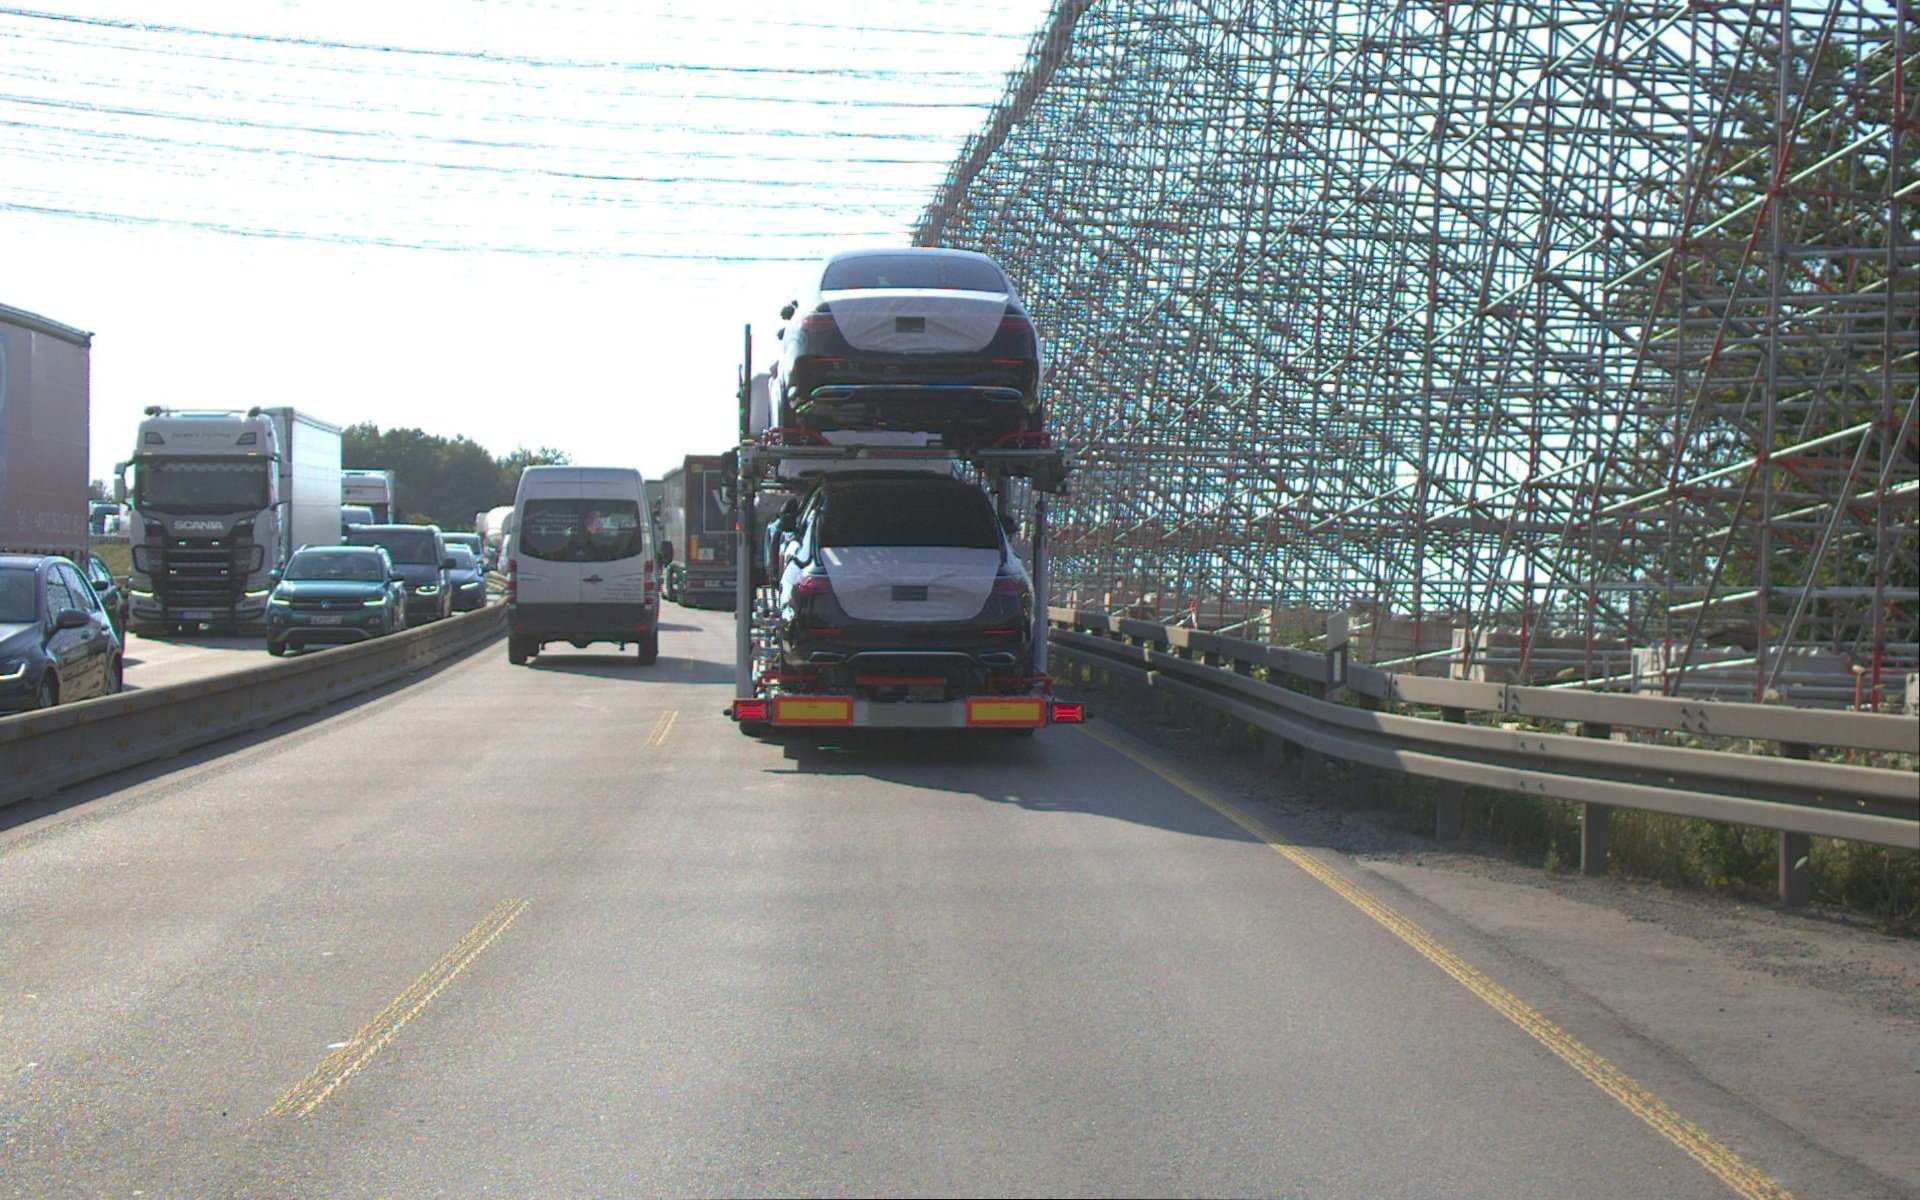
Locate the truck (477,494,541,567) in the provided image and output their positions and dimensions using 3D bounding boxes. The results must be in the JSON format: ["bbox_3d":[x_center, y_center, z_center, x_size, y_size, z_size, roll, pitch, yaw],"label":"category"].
[{"bbox_3d":[-24.031,-3.719,182.984,2.615,3.711,9.662,2,1,-11],"label":"truck"}]

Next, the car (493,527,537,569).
[{"bbox_3d":[-17.668,-2.053,136.422,1.710,1.612,3.504,0,0,-8],"label":"car"}]

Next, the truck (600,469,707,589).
[{"bbox_3d":[-11.580,-2.668,130.757,3.686,4.206,13.671,-2,1,-4],"label":"truck"}]

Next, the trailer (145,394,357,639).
[{"bbox_3d":[-13.656,-1.581,67.284,2.653,4.219,13.923,2,1,-6],"label":"trailer"}]

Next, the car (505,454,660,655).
[{"bbox_3d":[-5.165,-0.594,46.673,1.956,2.612,4.001,0,0,-8],"label":"car"}]

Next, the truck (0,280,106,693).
[{"bbox_3d":[-10.931,-1.136,33.635,2.787,4.127,13.810,0,0,-5],"label":"truck"}]

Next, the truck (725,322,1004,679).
[{"bbox_3d":[-1.170,-1.059,39.483,2.881,3.690,7.326,0,0,-3],"label":"truck"}]

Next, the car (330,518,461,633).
[{"bbox_3d":[-10.007,-0.454,61.255,1.874,1.928,4.862,1,1,-5],"label":"car"}]

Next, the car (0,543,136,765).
[{"bbox_3d":[-7.266,0.319,25.186,1.650,1.459,4.401,2,1,-4],"label":"car"}]

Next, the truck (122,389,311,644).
[{"bbox_3d":[-12.950,-1.428,60.310,2.662,4.215,6.106,0,1,-7],"label":"truck"}]

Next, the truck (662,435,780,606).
[{"bbox_3d":[-6.690,-2.168,94.772,2.731,4.370,11.524,1,1,-6],"label":"truck"}]

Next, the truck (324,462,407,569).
[{"bbox_3d":[-20.699,-2.896,119.262,2.594,3.461,12.396,2,1,-11],"label":"truck"}]

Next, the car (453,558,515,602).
[{"bbox_3d":[-17.137,-0.724,123.596,1.836,1.448,4.001,2,1,-13],"label":"car"}]

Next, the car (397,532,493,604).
[{"bbox_3d":[-11.349,-0.722,76.013,1.784,1.497,4.755,2,1,-5],"label":"car"}]

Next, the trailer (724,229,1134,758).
[{"bbox_3d":[-0.688,-0.801,31.750,2.868,3.712,14.949,0,0,-4],"label":"trailer"}]

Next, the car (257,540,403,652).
[{"bbox_3d":[-9.171,-0.093,50.321,1.742,1.529,4.268,1,1,-6],"label":"car"}]
